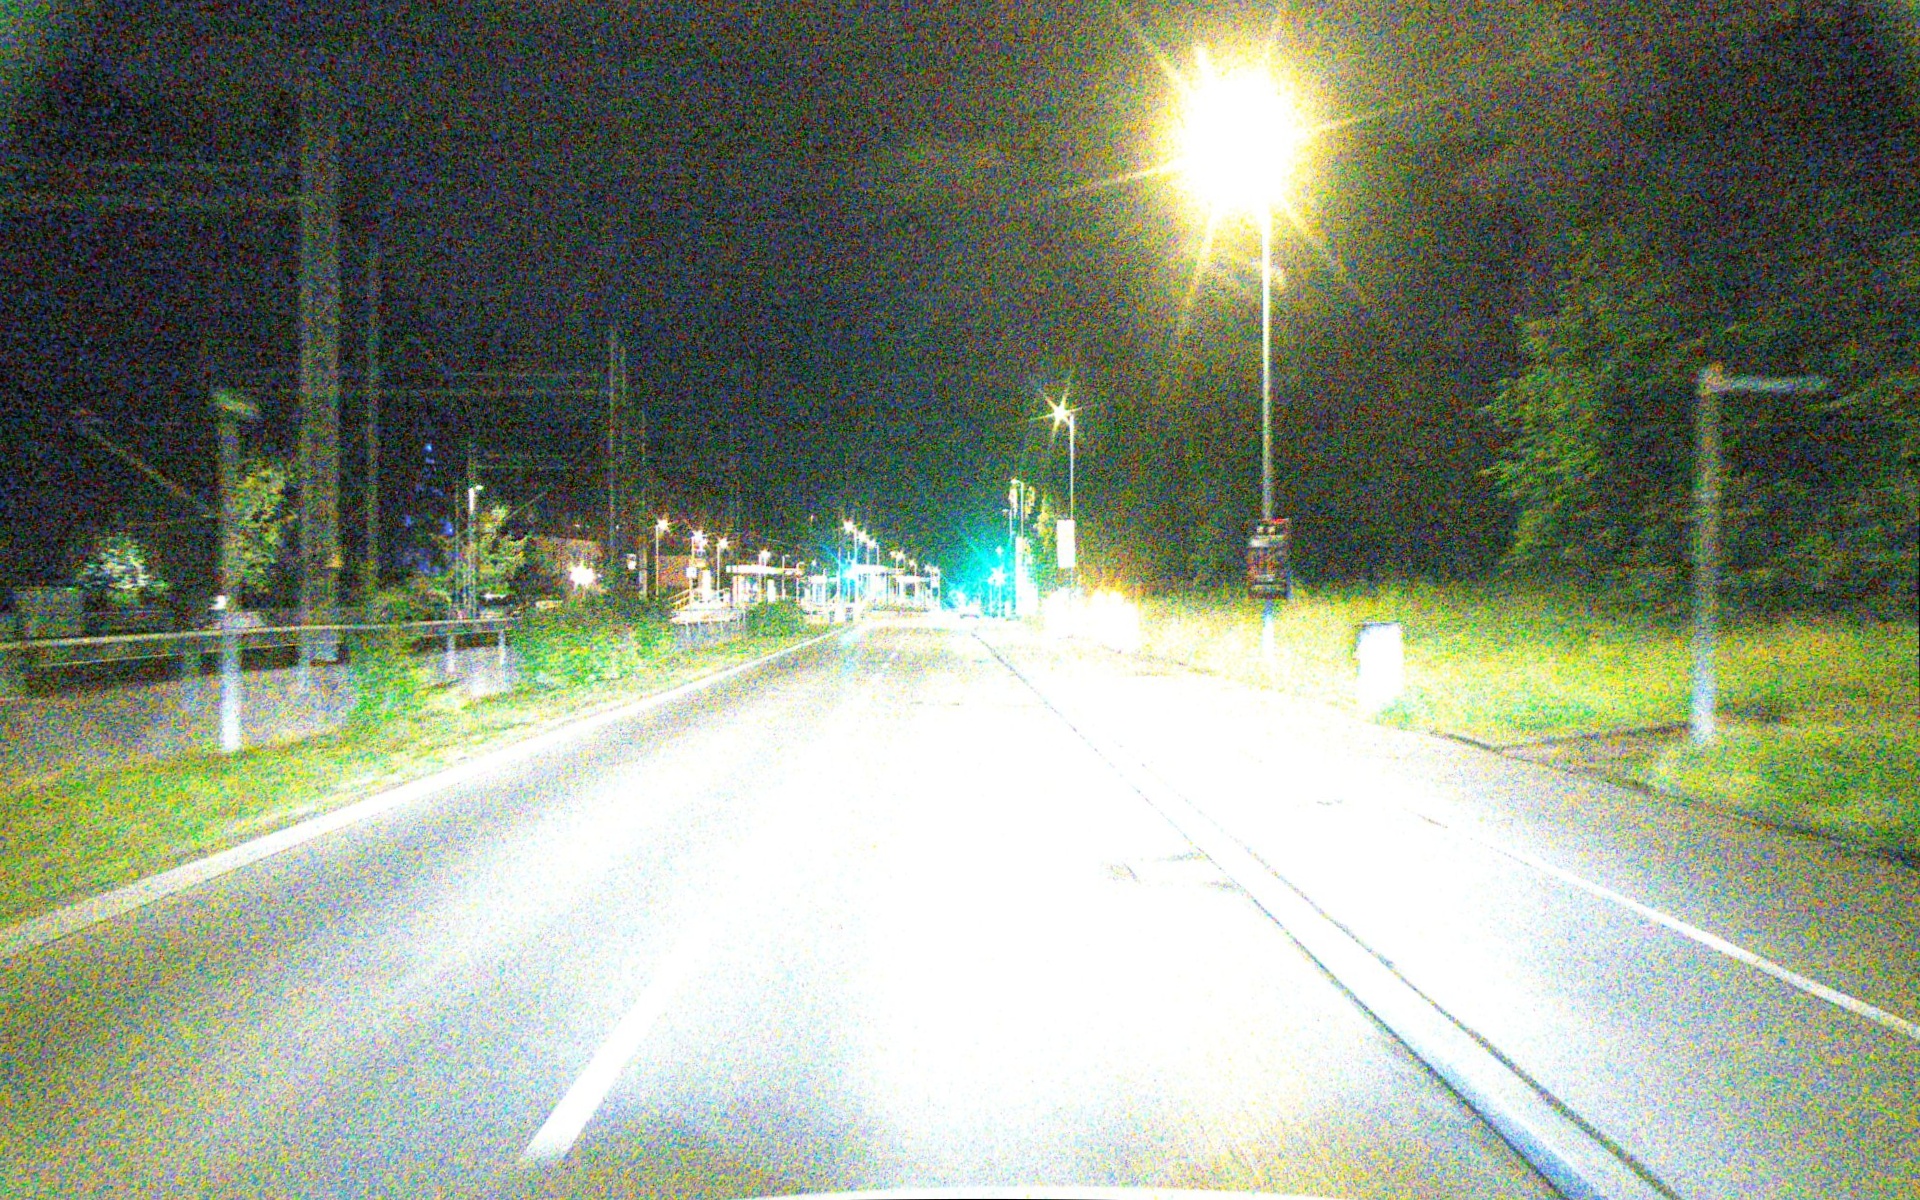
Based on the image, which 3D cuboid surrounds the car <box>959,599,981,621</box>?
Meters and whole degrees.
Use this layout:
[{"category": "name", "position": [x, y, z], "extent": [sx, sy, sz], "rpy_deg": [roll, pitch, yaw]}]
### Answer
[{"category": "car", "position": [0.934, 0.955, 157.269], "extent": [2.044, 2.049, 4.000], "rpy_deg": [0, 0, 0]}]
